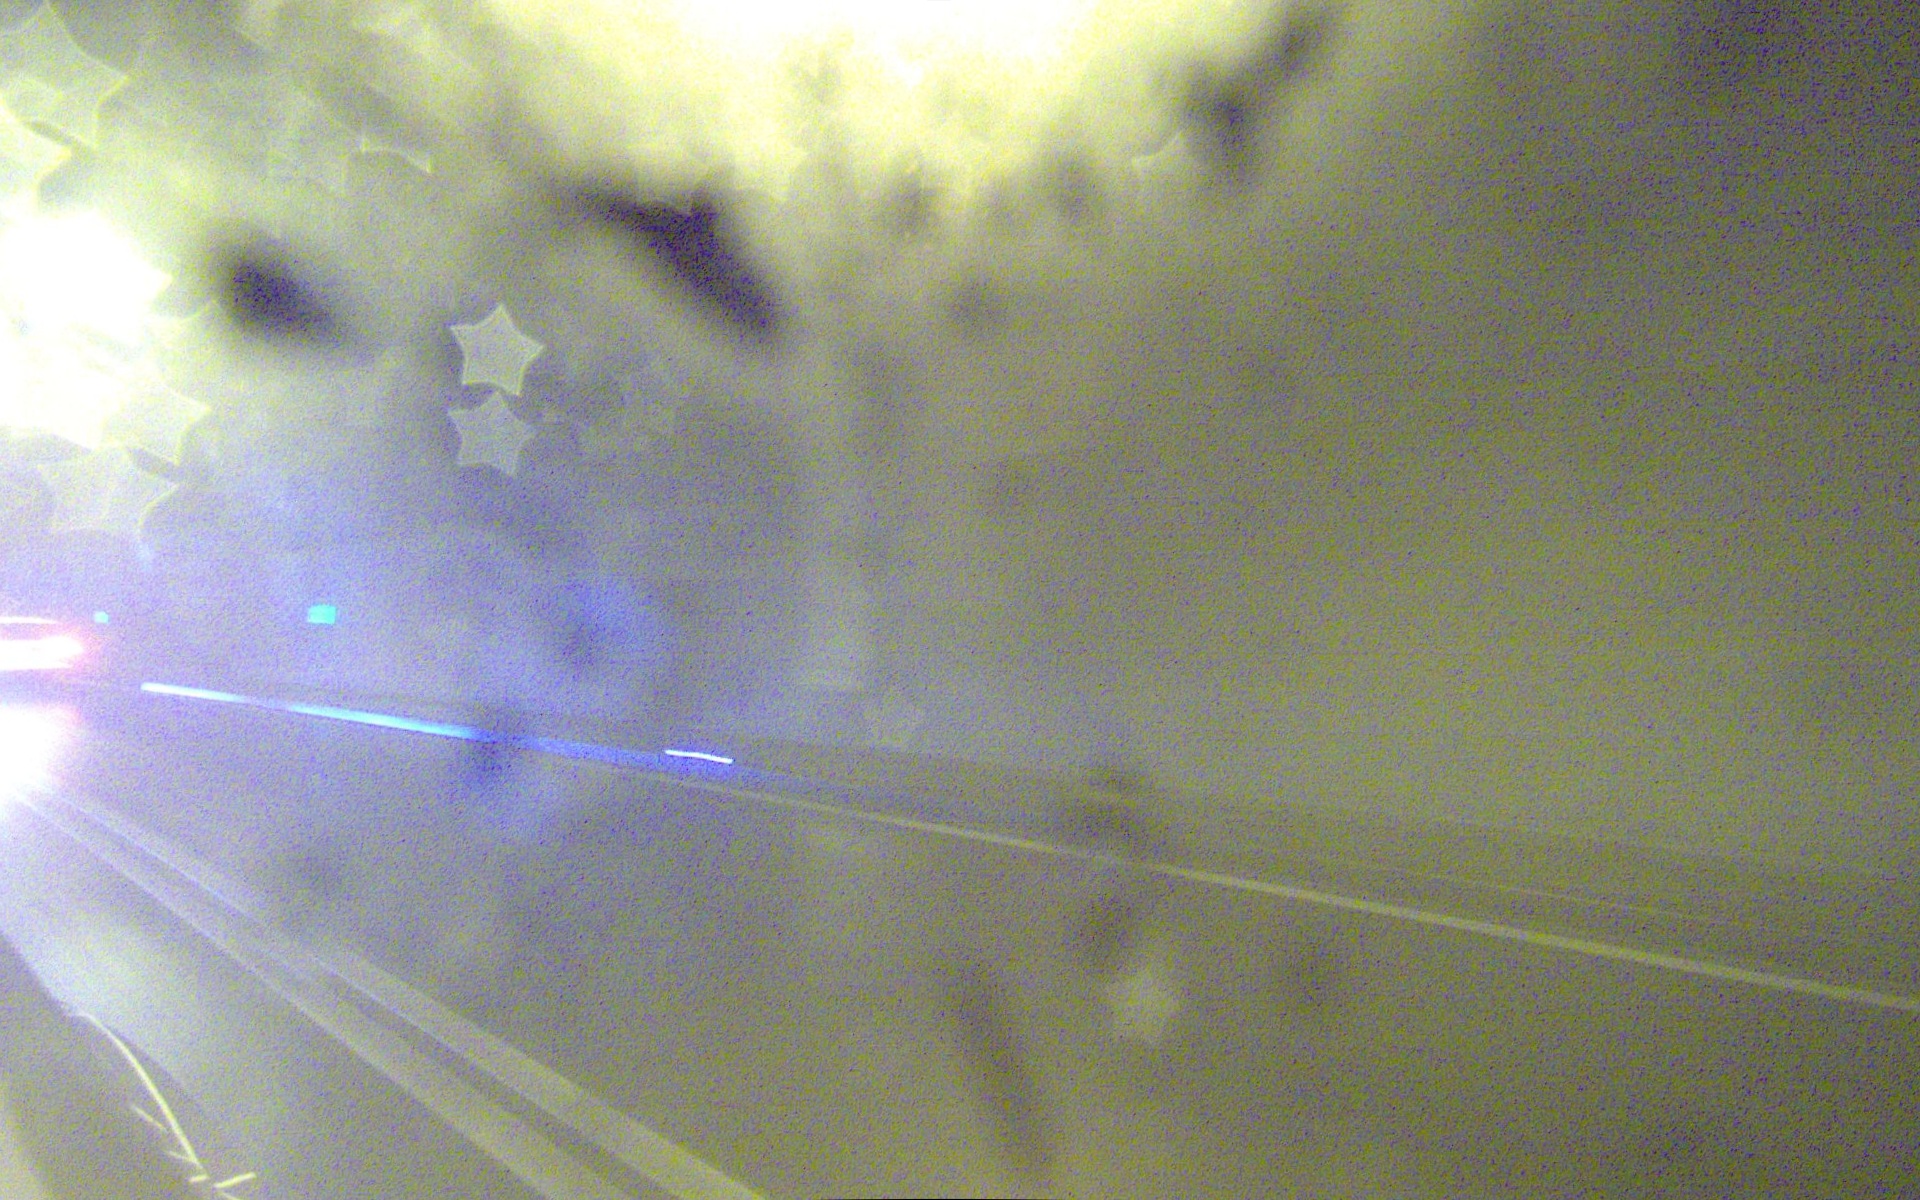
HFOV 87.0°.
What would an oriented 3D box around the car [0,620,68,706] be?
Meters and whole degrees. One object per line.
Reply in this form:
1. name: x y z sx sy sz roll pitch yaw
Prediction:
1. car: -18.471 1.153 19.208 4.075 1.522 1.691 -1 -2 40
